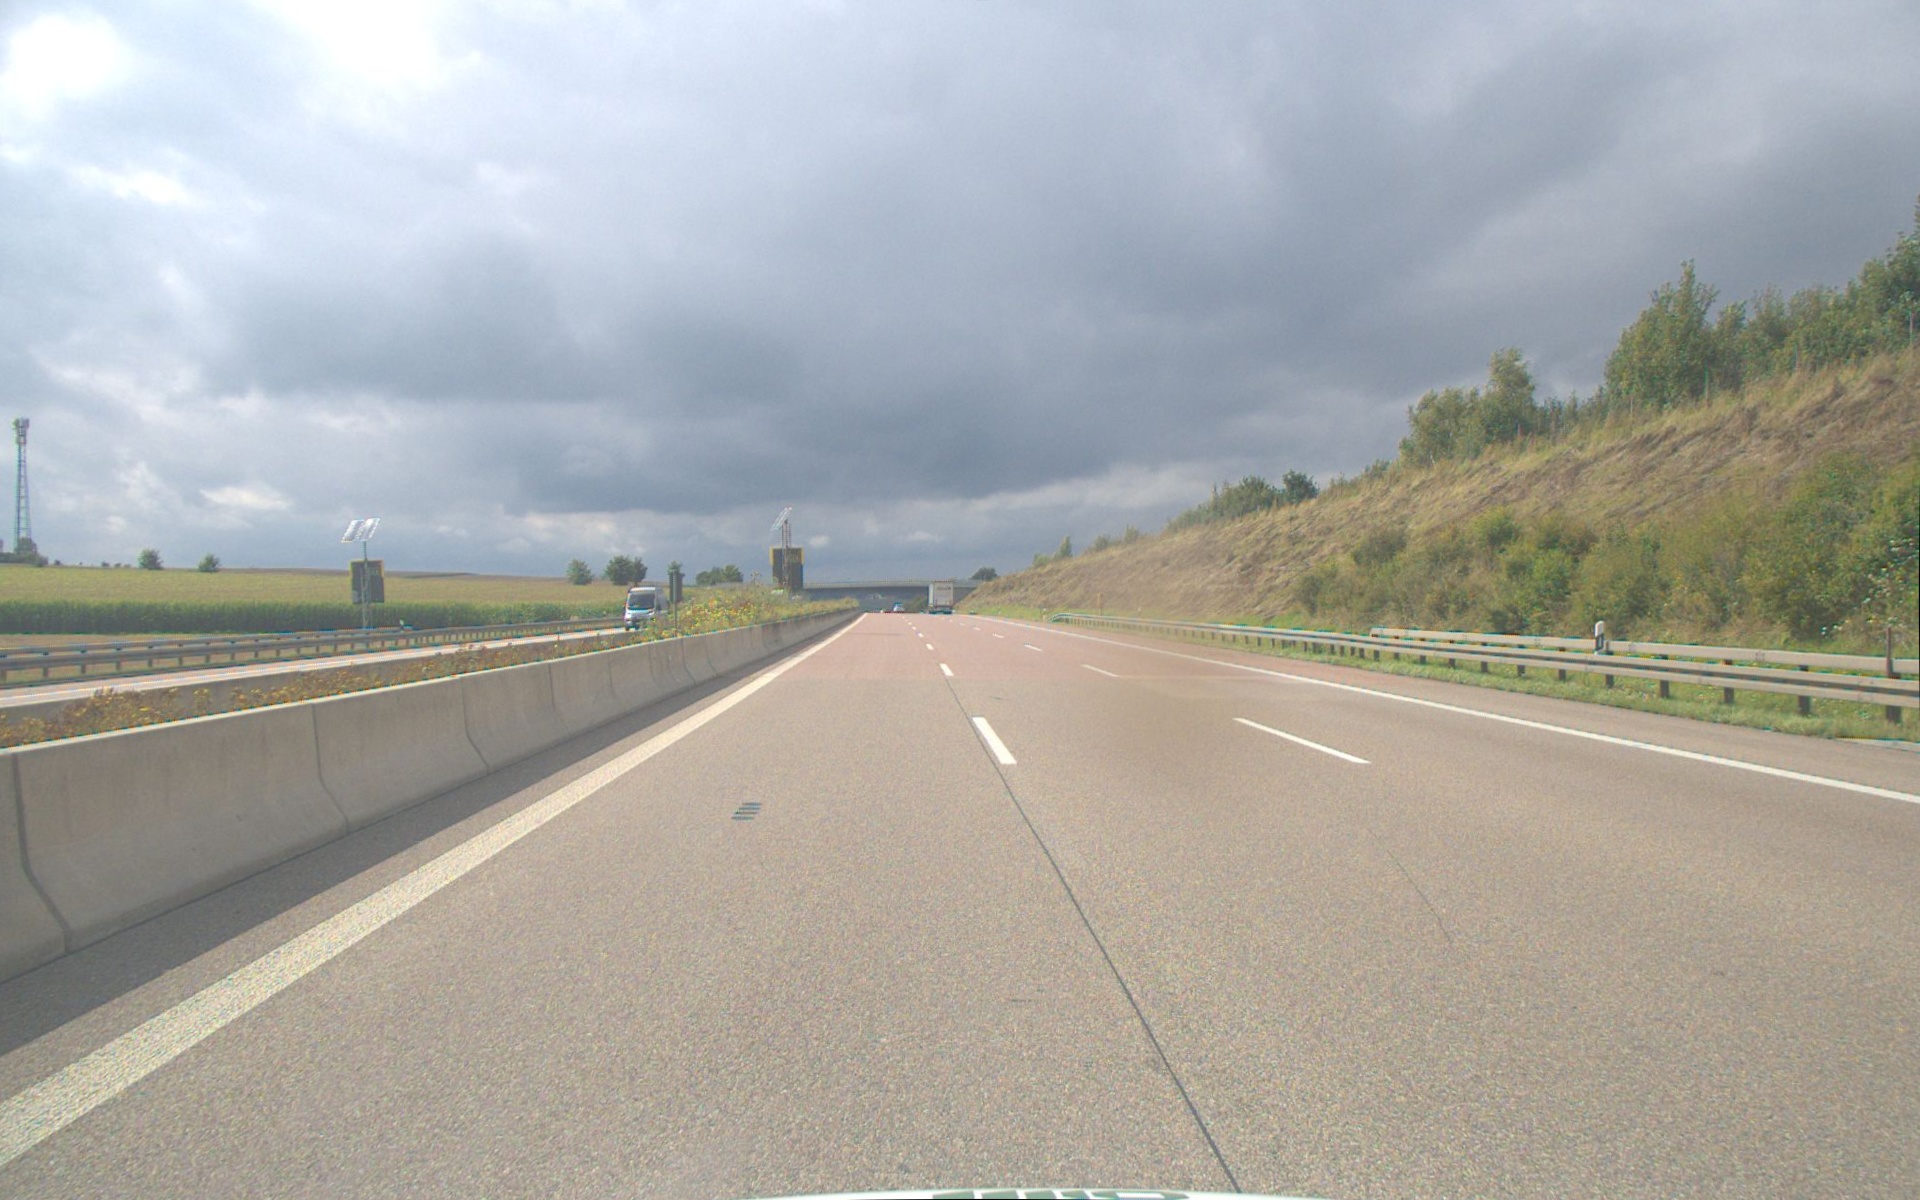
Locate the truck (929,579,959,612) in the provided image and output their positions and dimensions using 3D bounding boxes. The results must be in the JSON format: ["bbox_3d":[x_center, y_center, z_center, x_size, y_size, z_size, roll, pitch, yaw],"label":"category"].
[{"bbox_3d":[-2.126,-0.606,209.850,3.544,4.014,11.171,1,0,-1],"label":"truck"}]

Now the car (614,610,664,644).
[{"bbox_3d":[-19.739,1.636,101.998,2.015,1.946,5.702,-1,0,-1],"label":"car"}]
